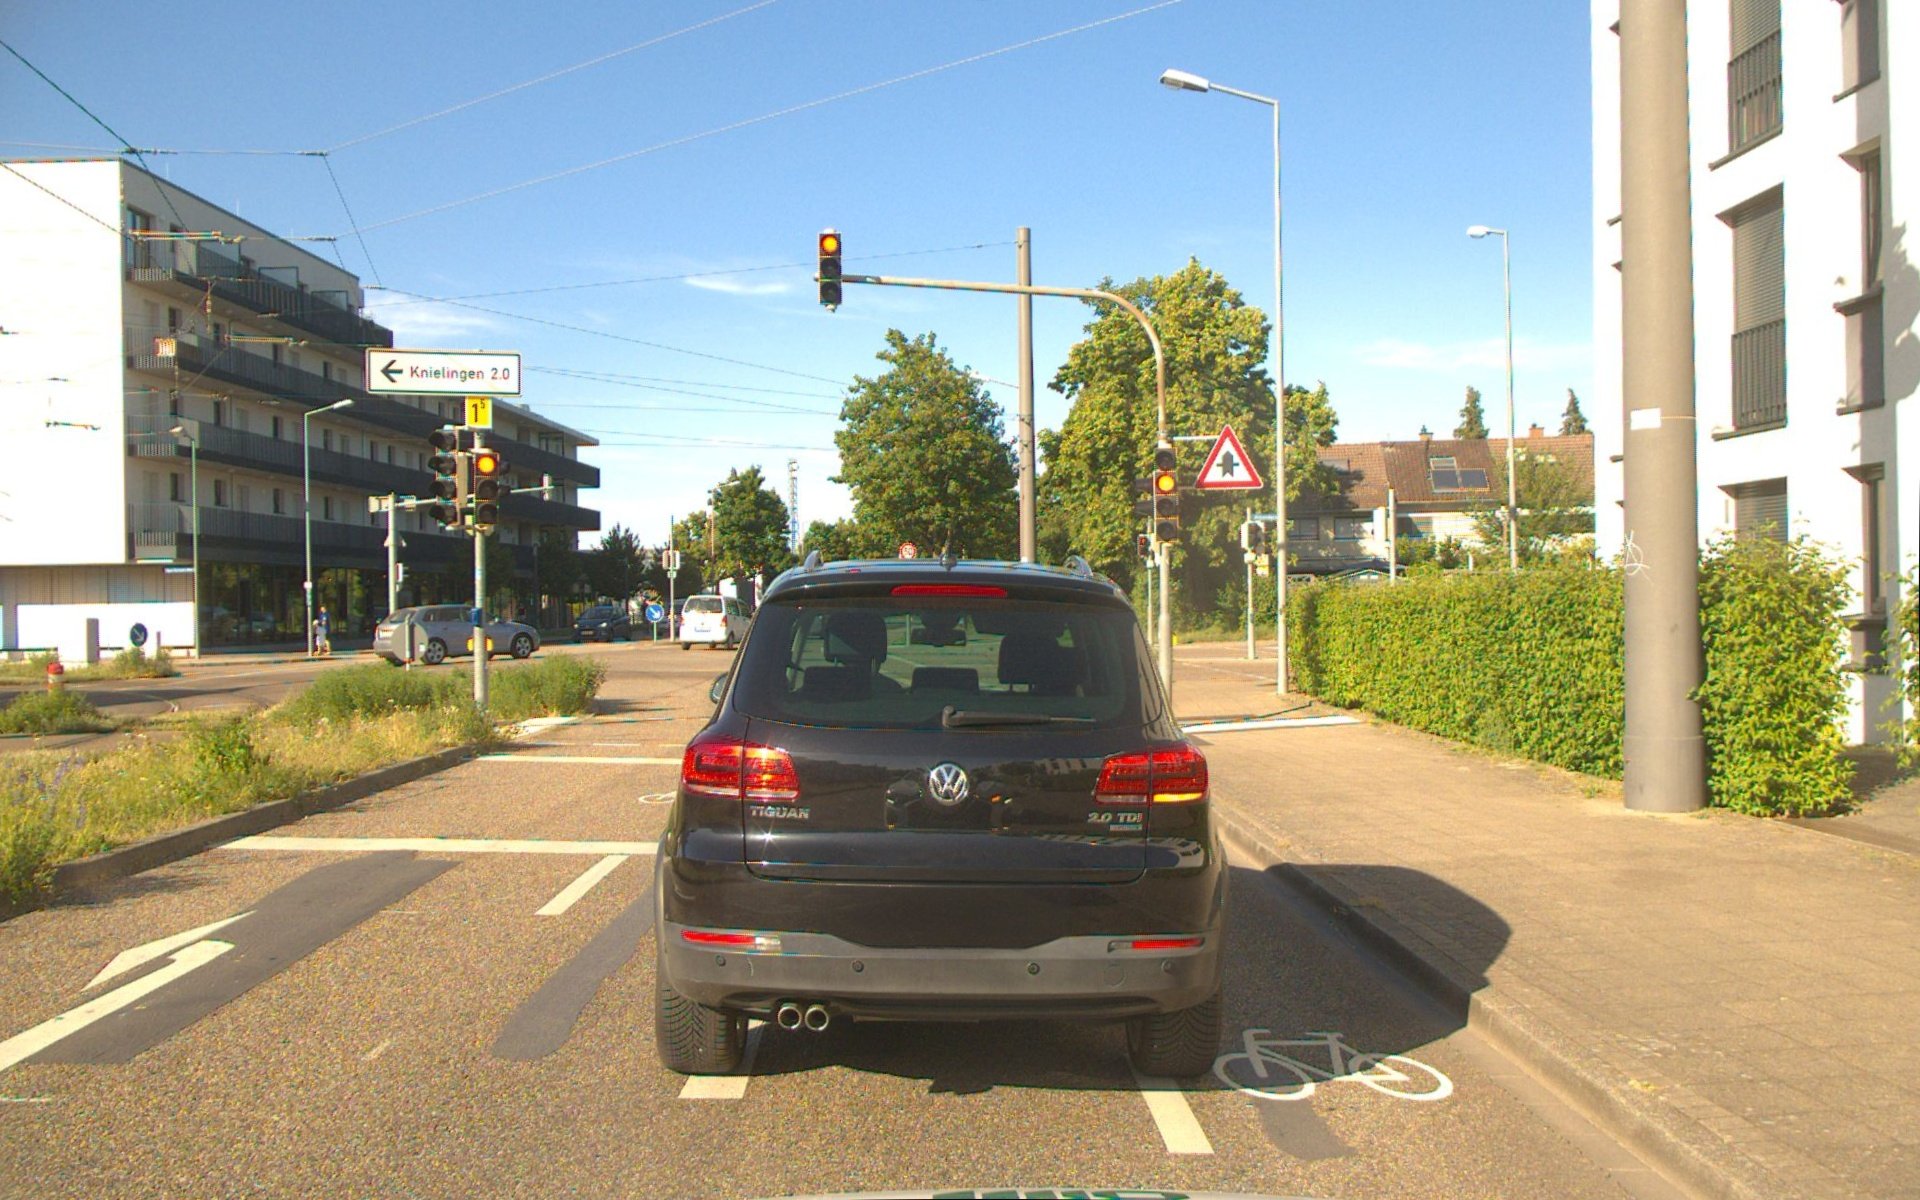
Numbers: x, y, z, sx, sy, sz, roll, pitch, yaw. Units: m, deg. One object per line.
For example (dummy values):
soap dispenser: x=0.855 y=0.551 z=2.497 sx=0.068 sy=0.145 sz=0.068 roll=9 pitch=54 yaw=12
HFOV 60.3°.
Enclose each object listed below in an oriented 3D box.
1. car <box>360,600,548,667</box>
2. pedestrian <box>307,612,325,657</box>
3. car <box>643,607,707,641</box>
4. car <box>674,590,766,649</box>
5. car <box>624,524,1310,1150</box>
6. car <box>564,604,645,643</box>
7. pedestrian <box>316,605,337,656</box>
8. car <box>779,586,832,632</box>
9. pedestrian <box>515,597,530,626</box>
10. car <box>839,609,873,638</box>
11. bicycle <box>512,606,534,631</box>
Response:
car: x=-12.474 y=0.807 z=40.946 sx=1.838 sy=1.511 sz=4.082 roll=-1 pitch=0 yaw=44
pedestrian: x=-22.451 y=1.202 z=57.689 sx=0.433 sy=1.529 sz=0.517 roll=1 pitch=-1 yaw=-6
car: x=-14.167 y=1.185 z=82.401 sx=1.951 sy=1.601 sz=4.342 roll=1 pitch=0 yaw=7
car: x=-7.430 y=0.589 z=51.545 sx=1.824 sy=1.750 sz=3.690 roll=0 pitch=0 yaw=9
car: x=-0.005 y=0.652 z=6.472 sx=1.831 sy=1.666 sz=3.999 roll=1 pitch=0 yaw=-1
car: x=-15.263 y=0.985 z=71.221 sx=1.951 sy=1.601 sz=4.343 roll=1 pitch=0 yaw=9
pedestrian: x=-22.317 y=1.069 z=58.264 sx=0.532 sy=1.774 sz=0.517 roll=1 pitch=-1 yaw=-6
car: x=-6.548 y=0.397 z=70.386 sx=1.953 sy=1.869 sz=3.999 roll=1 pitch=0 yaw=-2
pedestrian: x=-23.652 y=0.622 z=89.476 sx=0.629 sy=1.535 sz=0.596 roll=1 pitch=-1 yaw=-1
car: x=-6.418 y=1.446 z=102.231 sx=1.953 sy=1.713 sz=3.998 roll=1 pitch=0 yaw=-2
bicycle: x=-23.671 y=0.985 z=89.568 sx=0.617 sy=1.355 sz=1.913 roll=1 pitch=0 yaw=1
